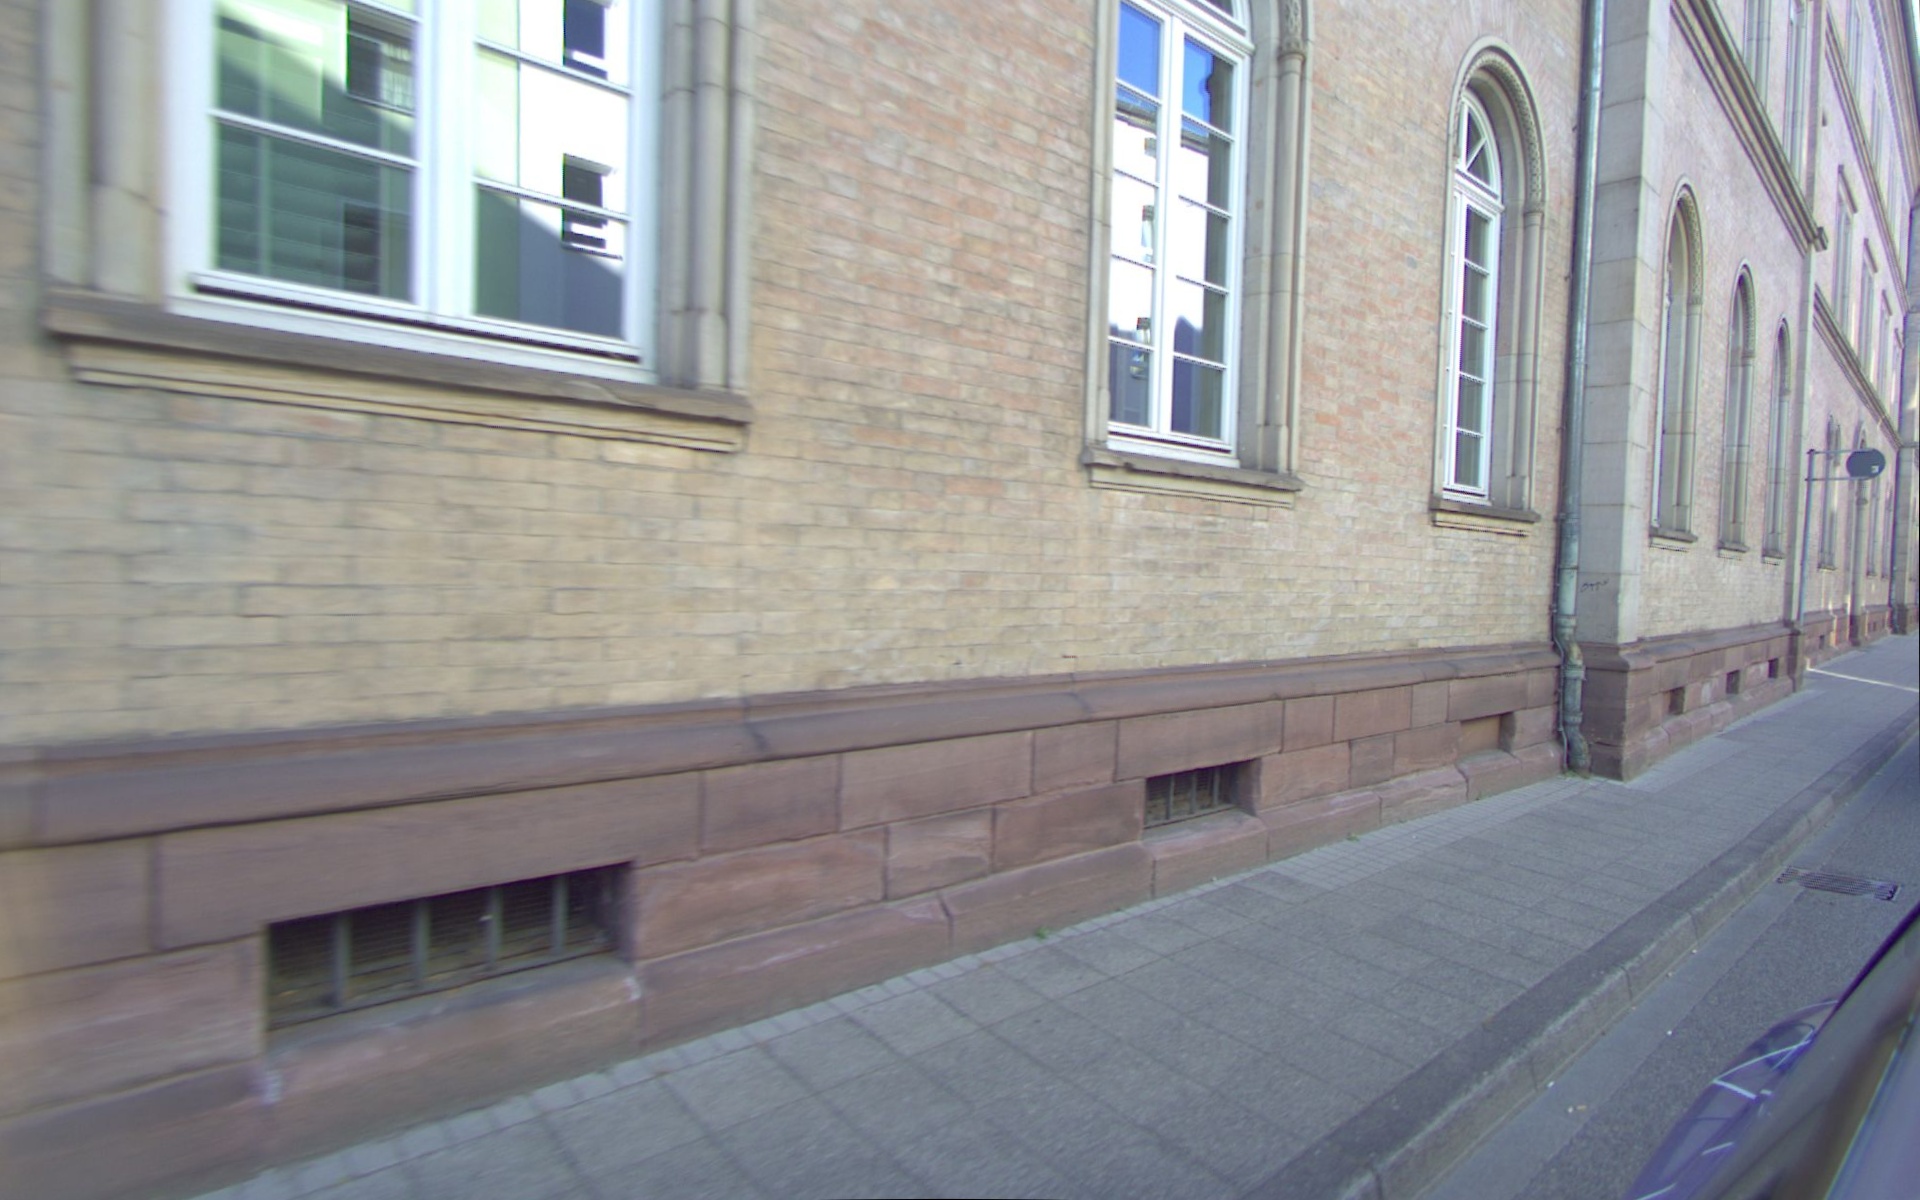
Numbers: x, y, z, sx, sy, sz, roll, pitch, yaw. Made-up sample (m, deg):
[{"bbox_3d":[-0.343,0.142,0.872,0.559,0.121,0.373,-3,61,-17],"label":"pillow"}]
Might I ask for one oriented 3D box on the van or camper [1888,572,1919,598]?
[{"bbox_3d":[78.502,-1.228,83.462,2.149,2.038,4.915,3,3,35],"label":"van or camper"}]
